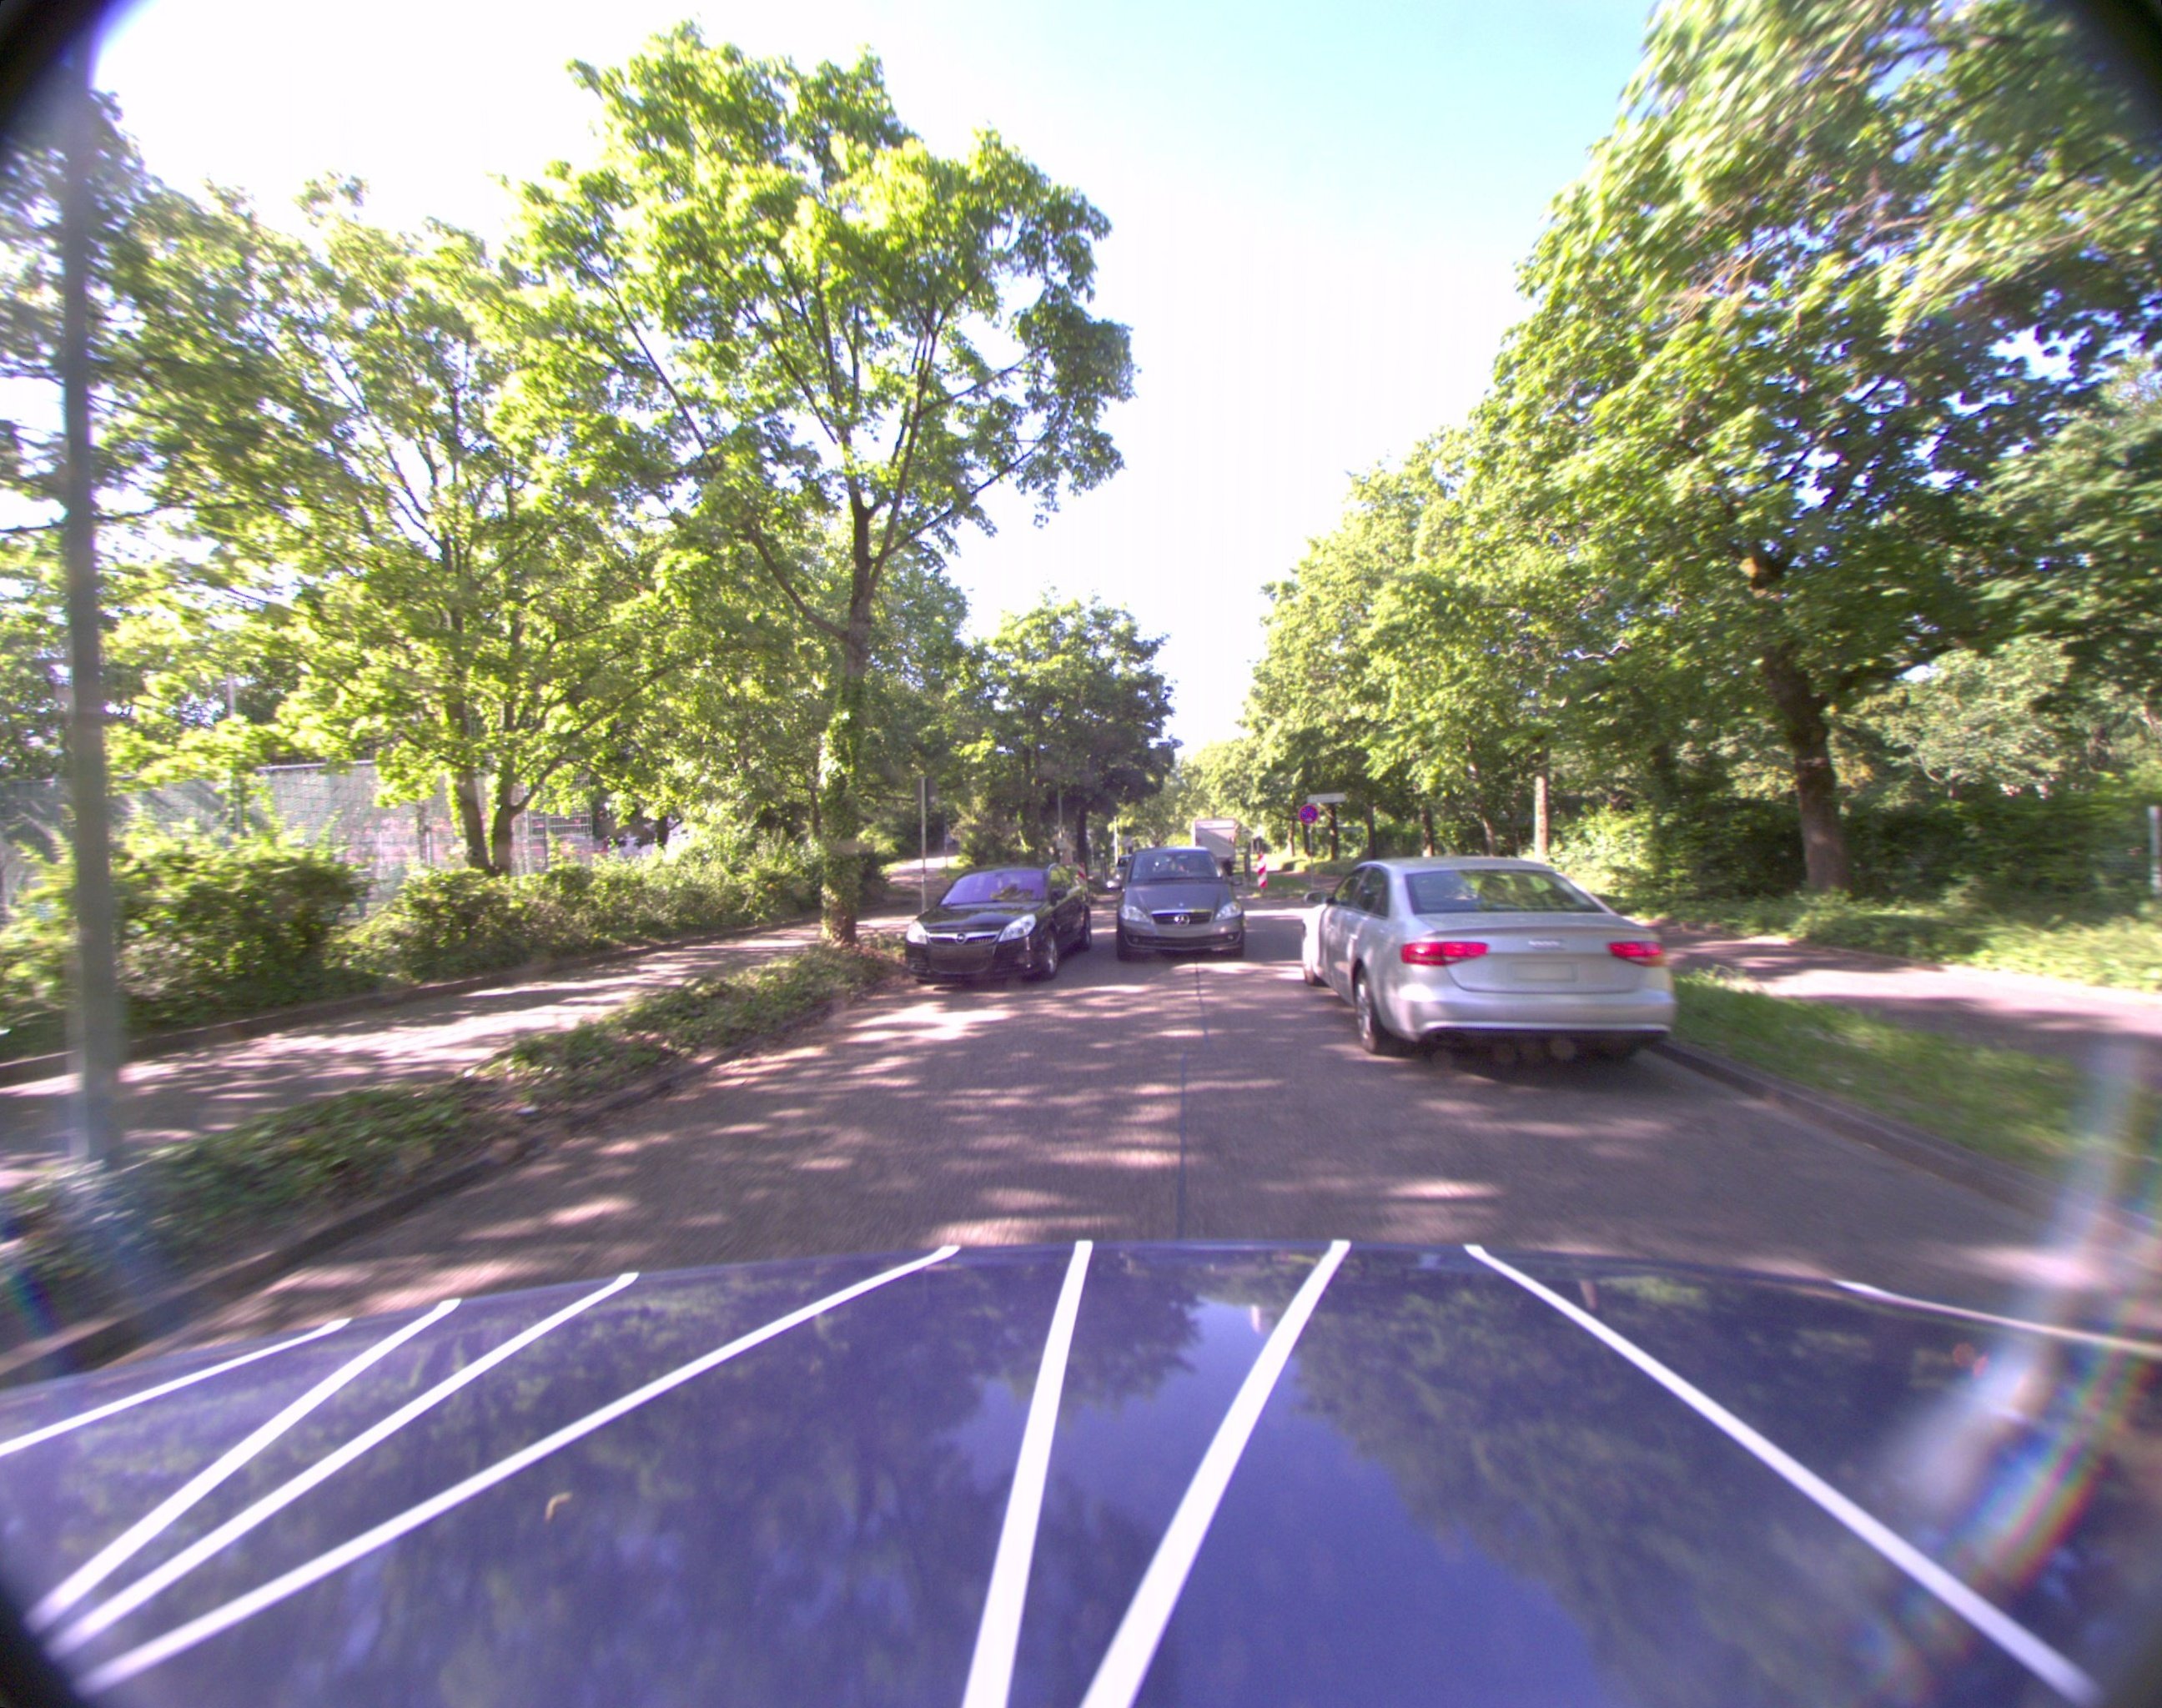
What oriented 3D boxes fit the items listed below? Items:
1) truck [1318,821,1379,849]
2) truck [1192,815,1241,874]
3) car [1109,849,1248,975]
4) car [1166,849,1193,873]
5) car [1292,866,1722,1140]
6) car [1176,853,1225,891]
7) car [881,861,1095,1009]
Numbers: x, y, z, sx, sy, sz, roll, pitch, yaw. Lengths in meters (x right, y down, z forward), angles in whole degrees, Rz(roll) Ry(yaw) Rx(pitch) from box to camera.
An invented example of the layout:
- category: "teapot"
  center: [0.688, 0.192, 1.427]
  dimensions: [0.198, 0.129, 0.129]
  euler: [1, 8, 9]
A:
- category: "truck"
  center: [20.354, -1.403, 58.009]
  dimensions: [3.995, 2.002, 2.205]
  euler: [-1, 0, 5]
- category: "truck"
  center: [9.163, -0.622, 52.043]
  dimensions: [2.740, 3.620, 8.105]
  euler: [-3, 0, 7]
- category: "car"
  center: [1.428, 0.758, 11.920]
  dimensions: [1.733, 1.578, 4.001]
  euler: [-3, 0, 5]
- category: "car"
  center: [6.226, 0.410, 48.275]
  dimensions: [1.604, 1.418, 3.653]
  euler: [-1, 0, 7]
- category: "car"
  center: [2.921, 0.858, 6.292]
  dimensions: [1.790, 1.408, 4.107]
  euler: [-1, 0, 9]
- category: "car"
  center: [4.819, 0.687, 31.161]
  dimensions: [1.759, 1.446, 4.244]
  euler: [-1, 0, 6]
- category: "car"
  center: [-1.009, 0.931, 10.403]
  dimensions: [1.751, 1.472, 4.032]
  euler: [-3, 1, 10]
